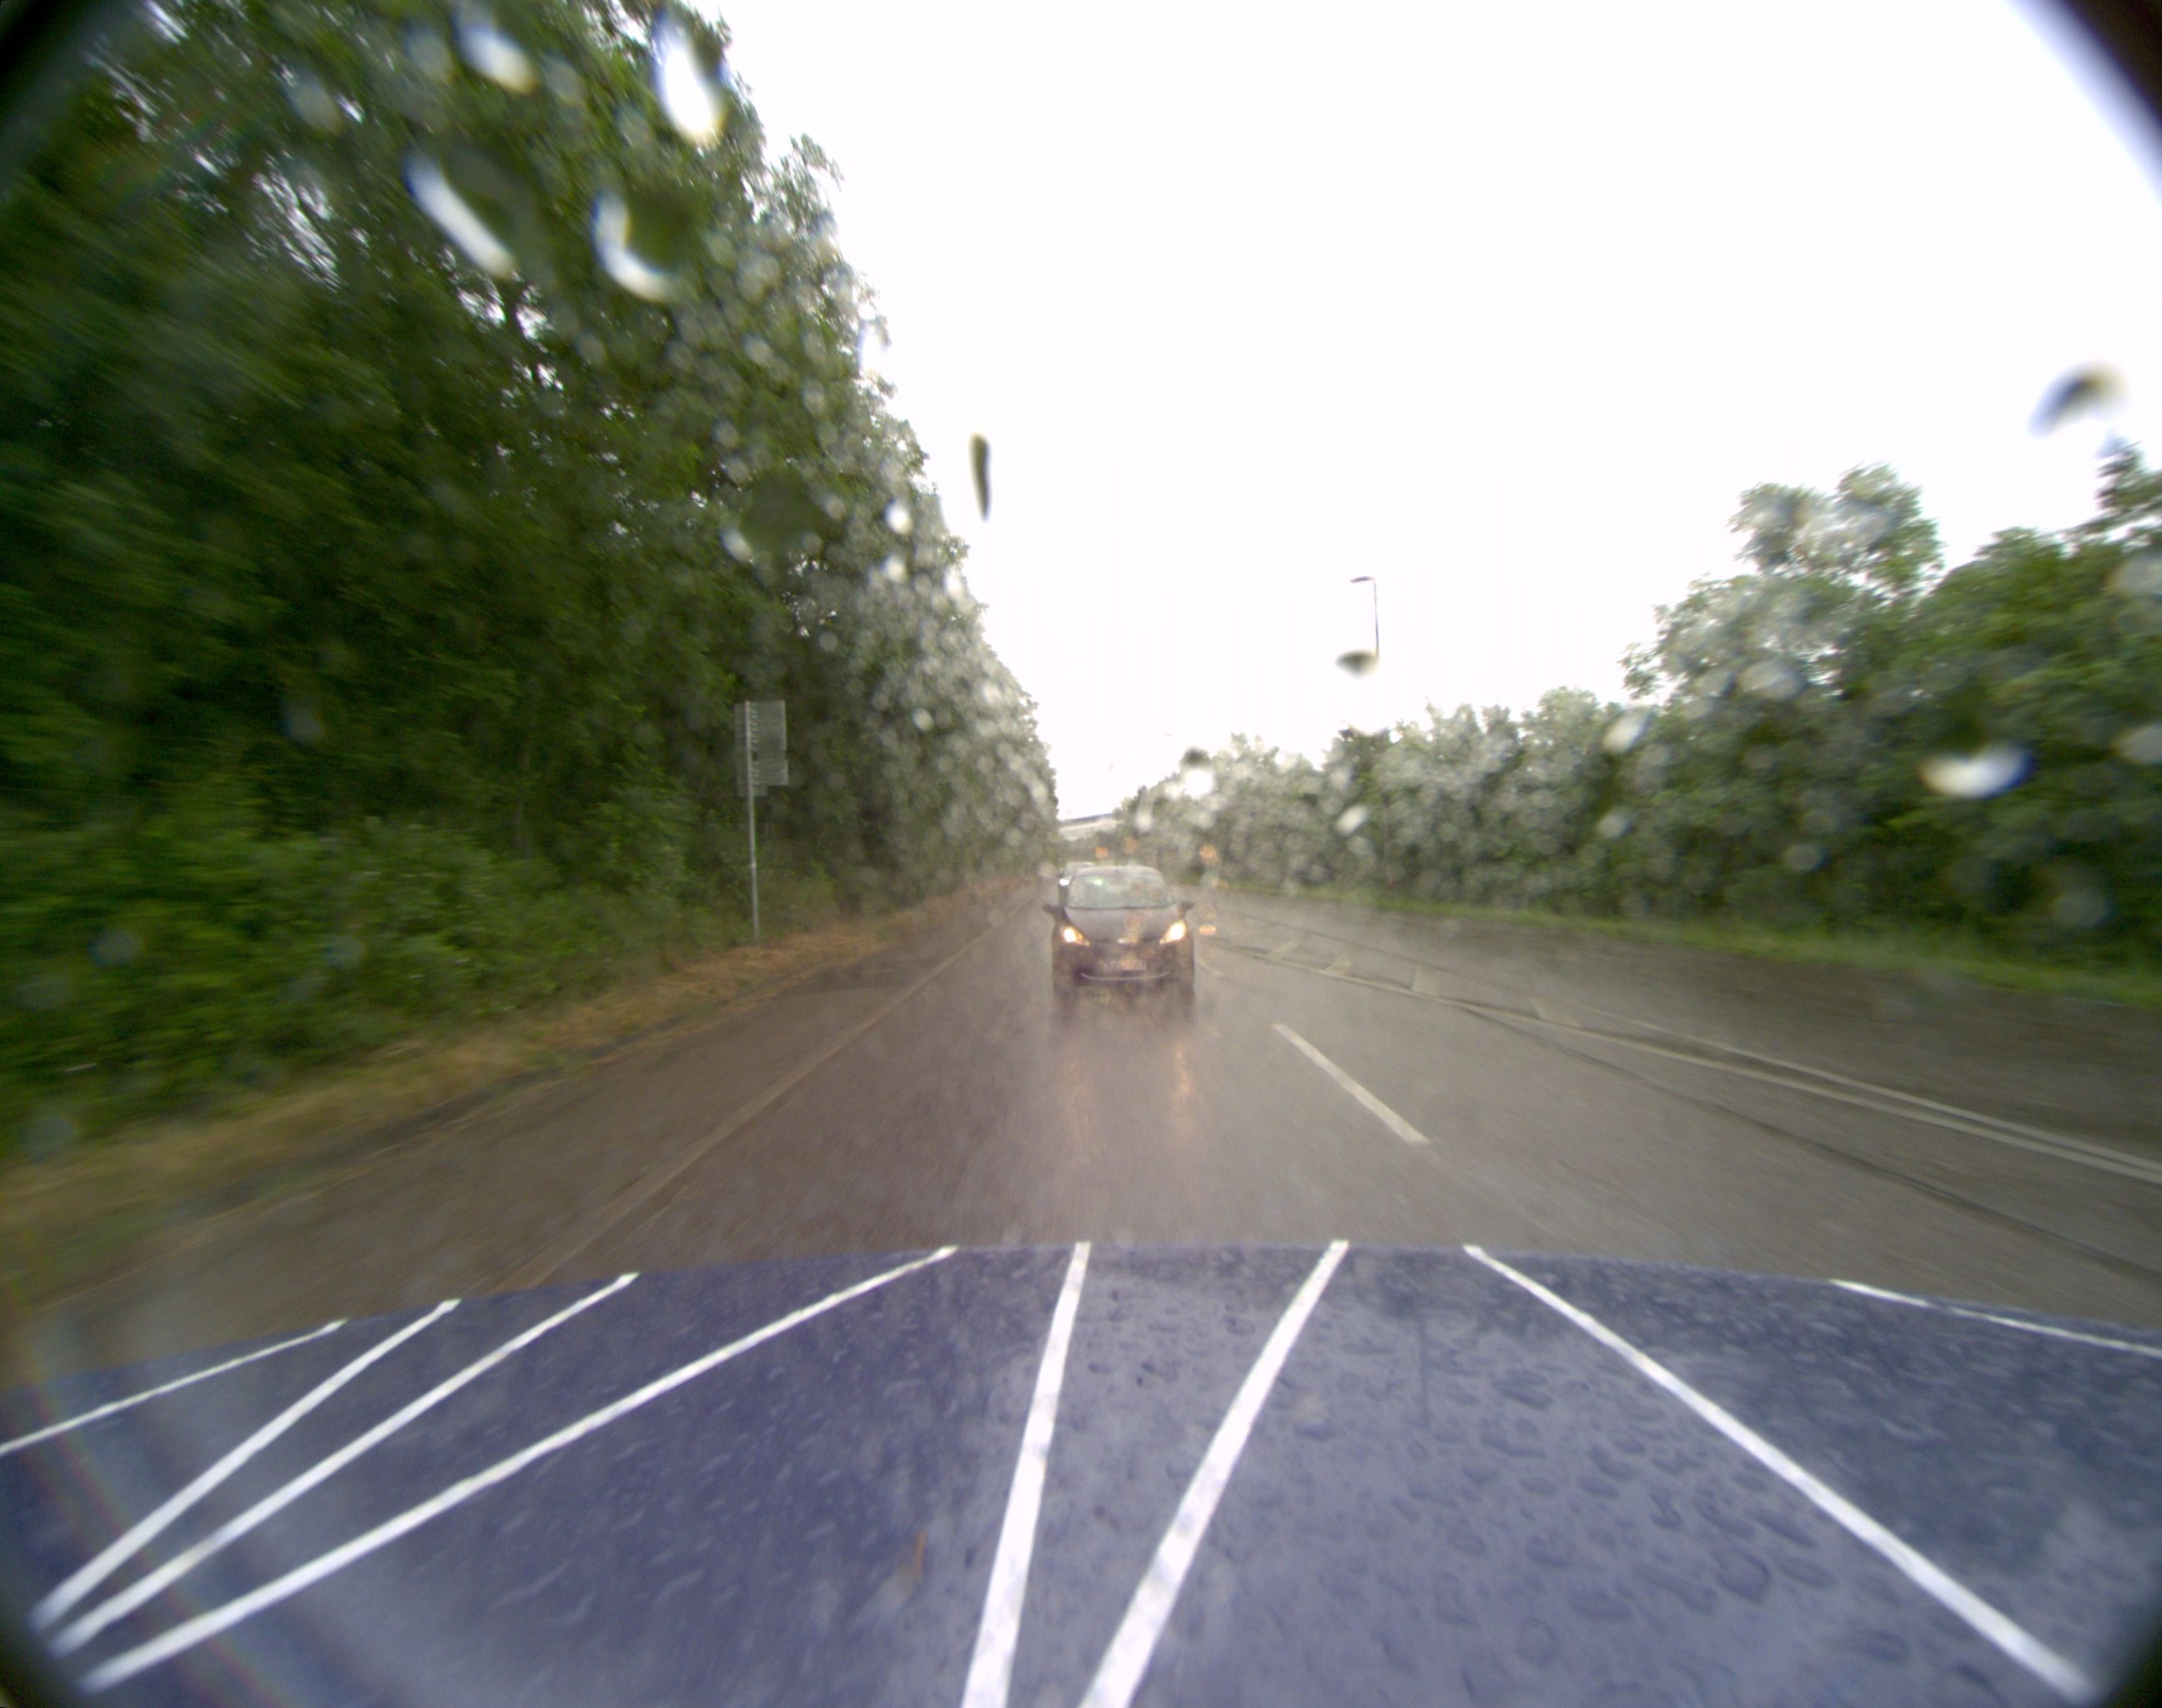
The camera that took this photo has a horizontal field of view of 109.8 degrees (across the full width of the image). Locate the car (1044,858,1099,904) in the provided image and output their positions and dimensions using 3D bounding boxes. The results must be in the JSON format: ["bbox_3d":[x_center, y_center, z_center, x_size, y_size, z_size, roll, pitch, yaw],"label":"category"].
[{"bbox_3d":[-0.340,1.005,30.216,1.998,1.576,3.999,-2,1,0],"label":"car"}]

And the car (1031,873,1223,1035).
[{"bbox_3d":[0.447,1.020,9.483,1.839,1.404,4.342,0,1,0],"label":"car"}]
